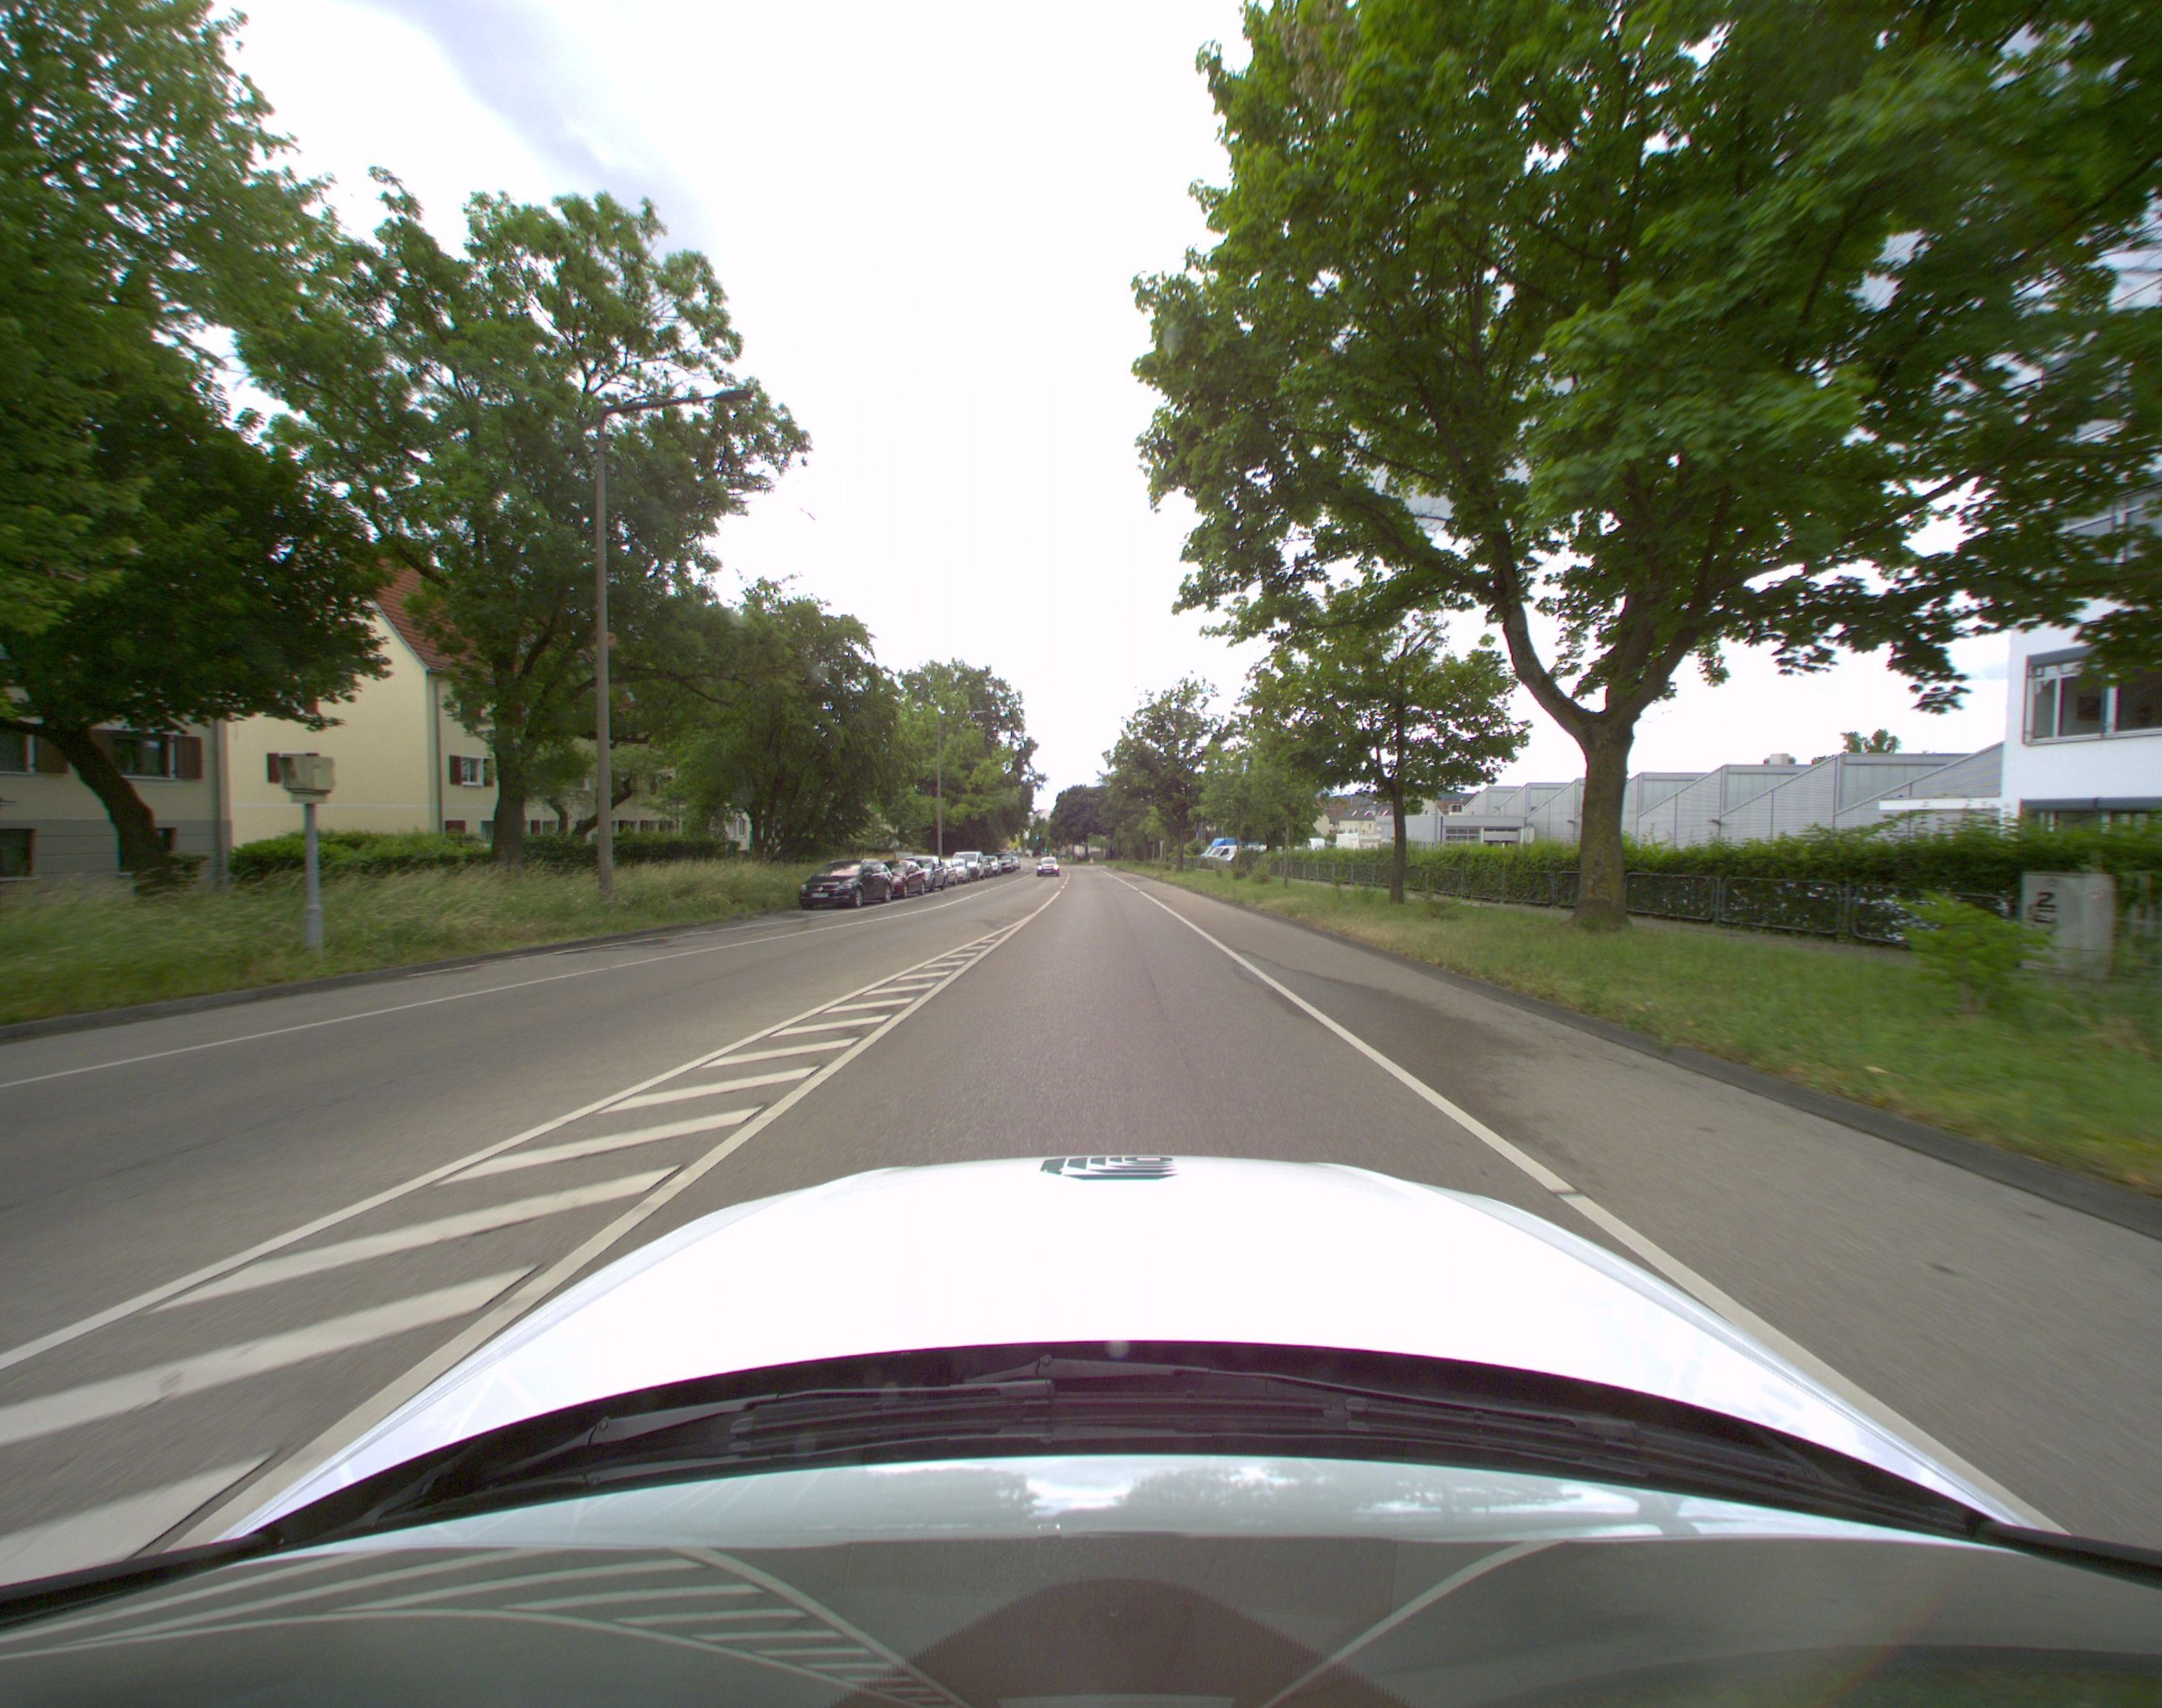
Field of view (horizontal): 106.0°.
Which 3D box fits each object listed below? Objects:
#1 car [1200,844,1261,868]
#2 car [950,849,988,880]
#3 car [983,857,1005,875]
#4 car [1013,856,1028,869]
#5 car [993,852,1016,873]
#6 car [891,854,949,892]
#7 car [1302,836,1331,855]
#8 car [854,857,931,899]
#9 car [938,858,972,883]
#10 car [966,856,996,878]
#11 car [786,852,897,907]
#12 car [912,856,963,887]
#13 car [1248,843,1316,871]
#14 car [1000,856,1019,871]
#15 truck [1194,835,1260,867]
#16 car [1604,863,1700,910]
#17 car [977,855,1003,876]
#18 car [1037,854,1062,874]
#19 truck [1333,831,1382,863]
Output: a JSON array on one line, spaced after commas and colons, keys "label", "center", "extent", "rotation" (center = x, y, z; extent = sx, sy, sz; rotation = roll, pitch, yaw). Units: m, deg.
[{"label": "car", "center": [15.540, 0.209, 84.450], "extent": [6.038, 2.367, 2.343], "rotation": [0, -1, -24]}, {"label": "car", "center": [-7.350, 0.635, 54.104], "extent": [1.762, 1.931, 5.155], "rotation": [0, 0, 0]}, {"label": "car", "center": [-7.588, 1.022, 71.281], "extent": [1.658, 1.479, 4.086], "rotation": [-1, -1, -3]}, {"label": "car", "center": [-7.924, 1.147, 106.875], "extent": [1.762, 1.573, 4.755], "rotation": [-1, -1, -2]}, {"label": "car", "center": [-7.483, 0.810, 79.823], "extent": [1.861, 1.963, 5.123], "rotation": [-1, 0, -2]}, {"label": "car", "center": [-7.135, 0.790, 36.384], "extent": [1.762, 1.592, 4.134], "rotation": [-1, 0, 0]}, {"label": "car", "center": [35.376, -1.282, 122.061], "extent": [2.233, 2.676, 5.485], "rotation": [0, 2, 38]}, {"label": "car", "center": [-7.088, 0.857, 31.092], "extent": [1.760, 1.447, 4.153], "rotation": [-1, 0, 3]}, {"label": "car", "center": [-7.391, 0.944, 48.136], "extent": [1.631, 1.433, 3.945], "rotation": [0, 0, -4]}, {"label": "car", "center": [-7.388, 0.953, 60.462], "extent": [1.667, 1.488, 4.045], "rotation": [-2, 0, 1]}, {"label": "car", "center": [-7.441, 0.748, 25.832], "extent": [1.867, 1.570, 4.655], "rotation": [0, 0, 4]}, {"label": "car", "center": [-7.573, 0.882, 43.377], "extent": [1.761, 1.495, 4.359], "rotation": [-2, 0, 2]}, {"label": "car", "center": [16.228, 0.237, 65.600], "extent": [5.271, 2.188, 2.054], "rotation": [0, -1, -26]}, {"label": "car", "center": [-7.815, 1.029, 88.919], "extent": [1.761, 1.633, 4.156], "rotation": [-1, 0, -1]}, {"label": "truck", "center": [16.582, -0.314, 92.427], "extent": [7.199, 3.477, 2.597], "rotation": [-1, 0, -25]}, {"label": "car", "center": [27.743, 1.537, 39.742], "extent": [1.986, 2.145, 4.002], "rotation": [0, 0, 2]}, {"label": "car", "center": [-7.258, 0.912, 65.250], "extent": [1.668, 1.564, 4.279], "rotation": [-1, 0, -1]}, {"label": "car", "center": [-2.417, 0.776, 62.639], "extent": [1.631, 1.467, 4.001], "rotation": [-2, 0, 1]}, {"label": "truck", "center": [31.076, -0.693, 91.988], "extent": [2.841, 3.459, 9.549], "rotation": [0, 0, 3]}]
